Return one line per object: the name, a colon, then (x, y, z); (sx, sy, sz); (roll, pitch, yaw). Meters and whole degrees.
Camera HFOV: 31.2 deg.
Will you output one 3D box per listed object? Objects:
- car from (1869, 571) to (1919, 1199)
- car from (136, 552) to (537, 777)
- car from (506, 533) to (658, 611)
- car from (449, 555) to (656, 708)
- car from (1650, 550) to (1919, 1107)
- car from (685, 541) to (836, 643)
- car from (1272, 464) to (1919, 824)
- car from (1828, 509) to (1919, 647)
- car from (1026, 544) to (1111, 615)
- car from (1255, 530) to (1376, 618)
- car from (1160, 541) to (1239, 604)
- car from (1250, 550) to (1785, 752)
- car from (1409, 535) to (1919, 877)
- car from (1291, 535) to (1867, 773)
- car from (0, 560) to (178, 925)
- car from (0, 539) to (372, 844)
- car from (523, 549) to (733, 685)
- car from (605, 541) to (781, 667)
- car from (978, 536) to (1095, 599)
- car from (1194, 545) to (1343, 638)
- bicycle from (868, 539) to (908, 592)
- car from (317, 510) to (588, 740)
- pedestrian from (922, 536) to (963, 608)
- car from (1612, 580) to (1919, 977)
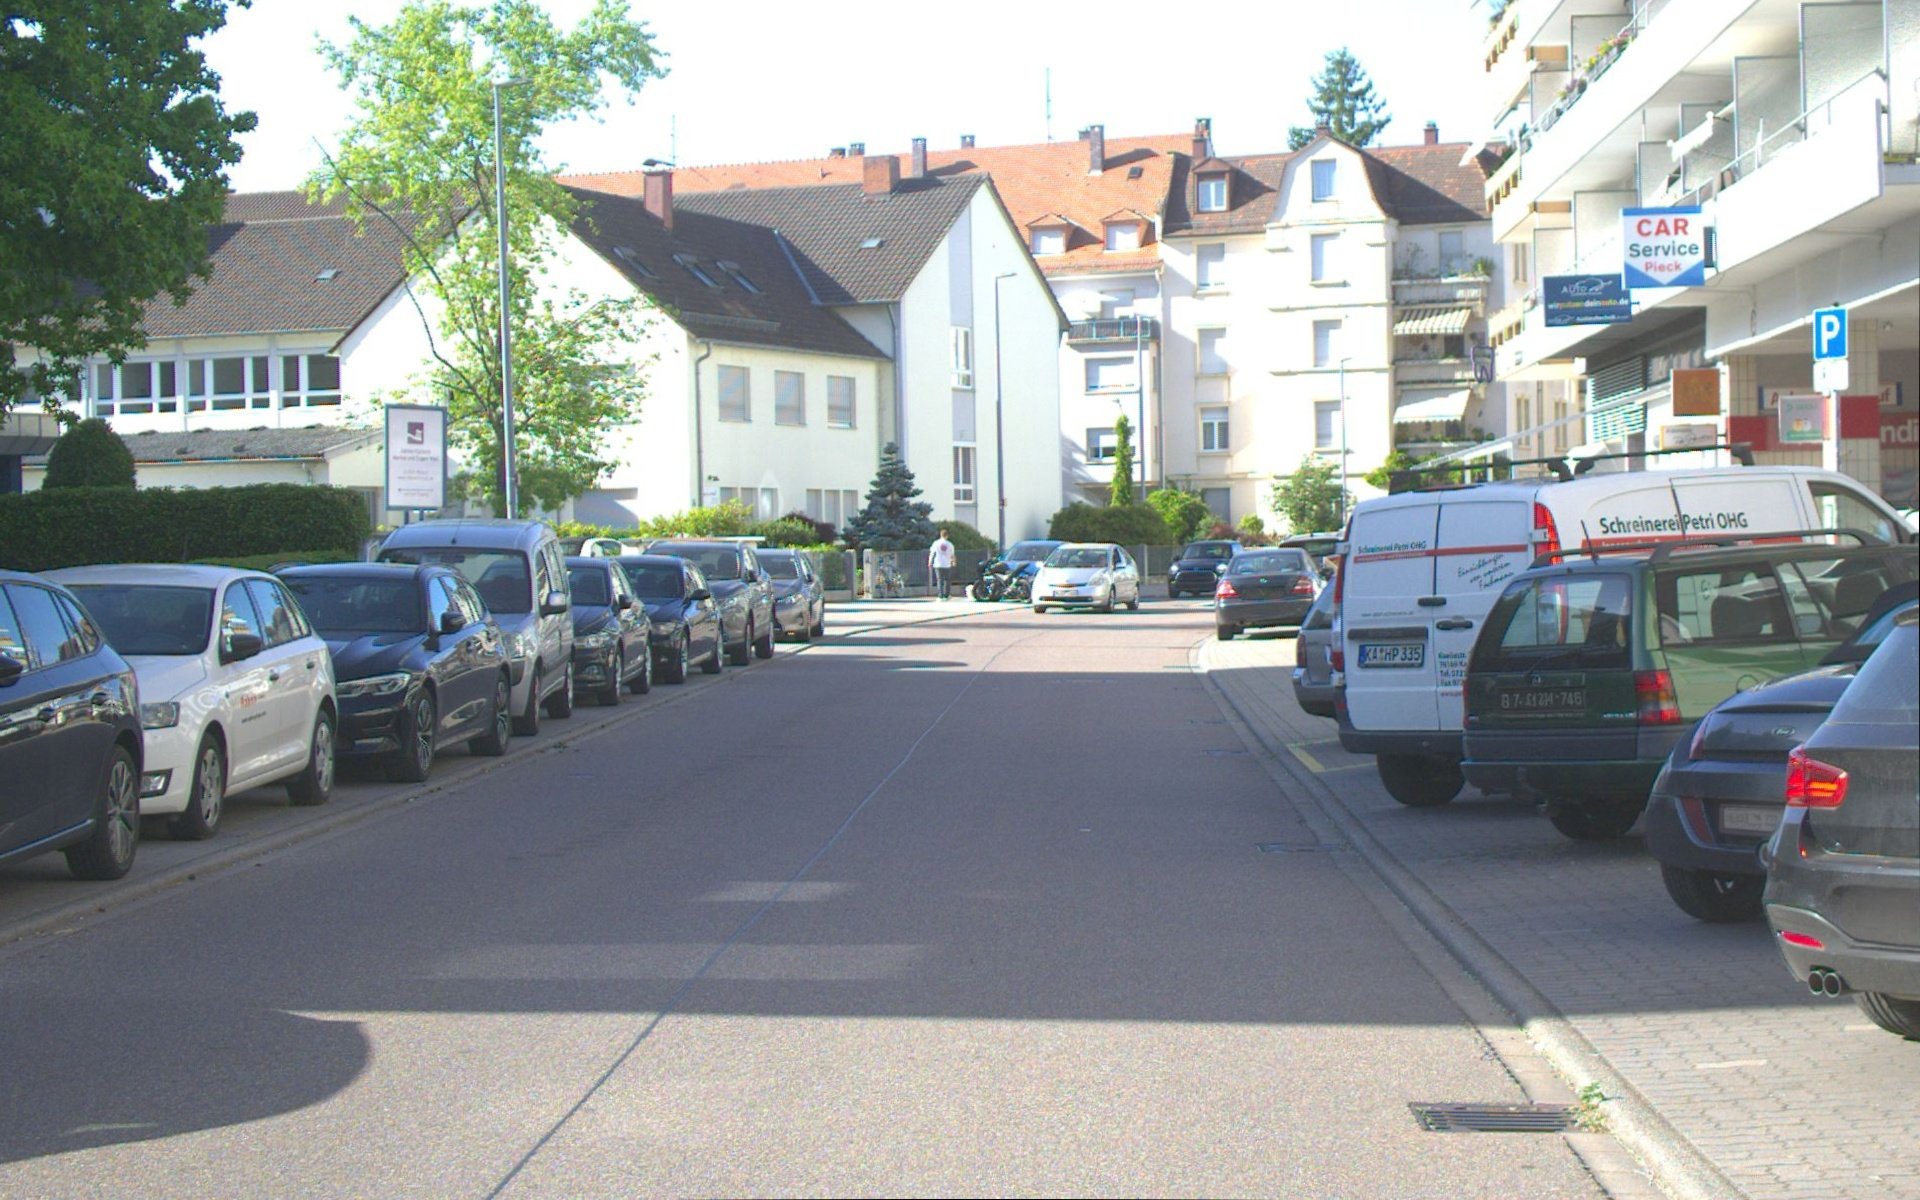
car: (4.260, 0.536, 6.748); (4.858, 1.459, 1.973); (-4, 2, -33)
car: (-4.325, 0.390, 24.564); (1.733, 1.434, 4.611); (-1, 1, 4)
car: (-8.040, -0.580, 73.418); (1.802, 1.550, 3.184); (-1, -2, 26)
car: (-4.025, 0.269, 34.463); (1.598, 1.435, 4.000); (0, 1, 0)
car: (4.287, 0.582, 10.367); (4.158, 1.492, 1.823); (-1, -1, -31)
car: (-3.173, -0.168, 55.598); (1.993, 1.529, 4.918); (-1, 1, 2)
car: (4.301, 0.223, 20.915); (4.517, 1.891, 2.049); (-3, -1, -38)
car: (12.262, -0.307, 38.844); (4.391, 1.507, 1.979); (-2, 0, 2)
car: (2.398, -0.459, 75.239); (1.726, 1.480, 4.106); (0, 1, 4)
car: (7.014, -0.522, 67.545); (1.818, 1.647, 4.557); (-1, 1, 13)
car: (6.225, -0.733, 89.563); (1.740, 1.507, 3.730); (-2, 1, 0)
car: (4.646, 0.387, 28.239); (4.634, 1.461, 1.690); (-2, 0, -40)
car: (4.425, 0.451, 17.477); (3.984, 1.484, 1.616); (-4, -1, -29)
car: (4.492, 0.341, 24.560); (4.315, 1.507, 1.756); (-2, 0, -43)
car: (-4.828, 0.582, 14.703); (1.908, 1.474, 4.380); (-1, 0, 1)
car: (-4.737, 0.455, 19.604); (1.908, 1.525, 4.625); (-1, 0, 1)
car: (-3.787, 0.156, 39.884); (1.726, 1.460, 4.439); (0, 1, 4)
car: (-3.503, 0.014, 45.821); (1.720, 1.581, 4.421); (0, 1, 4)
car: (1.915, -0.823, 84.539); (1.799, 1.468, 4.327); (1, 2, 16)
car: (5.099, -0.147, 56.253); (1.971, 1.445, 5.001); (-1, 0, 10)
bicycle: (-1.776, -0.838, 85.039); (0.456, 1.246, 1.927); (-1, -1, 14)
car: (-4.297, 0.158, 29.691); (1.687, 1.832, 4.341); (-1, 1, 0)
pedestrian: (-0.415, -0.663, 81.907); (0.683, 1.698, 0.823); (-1, -2, 24)
car: (4.334, 0.613, 13.710); (3.387, 1.383, 1.540); (-1, 1, -38)
